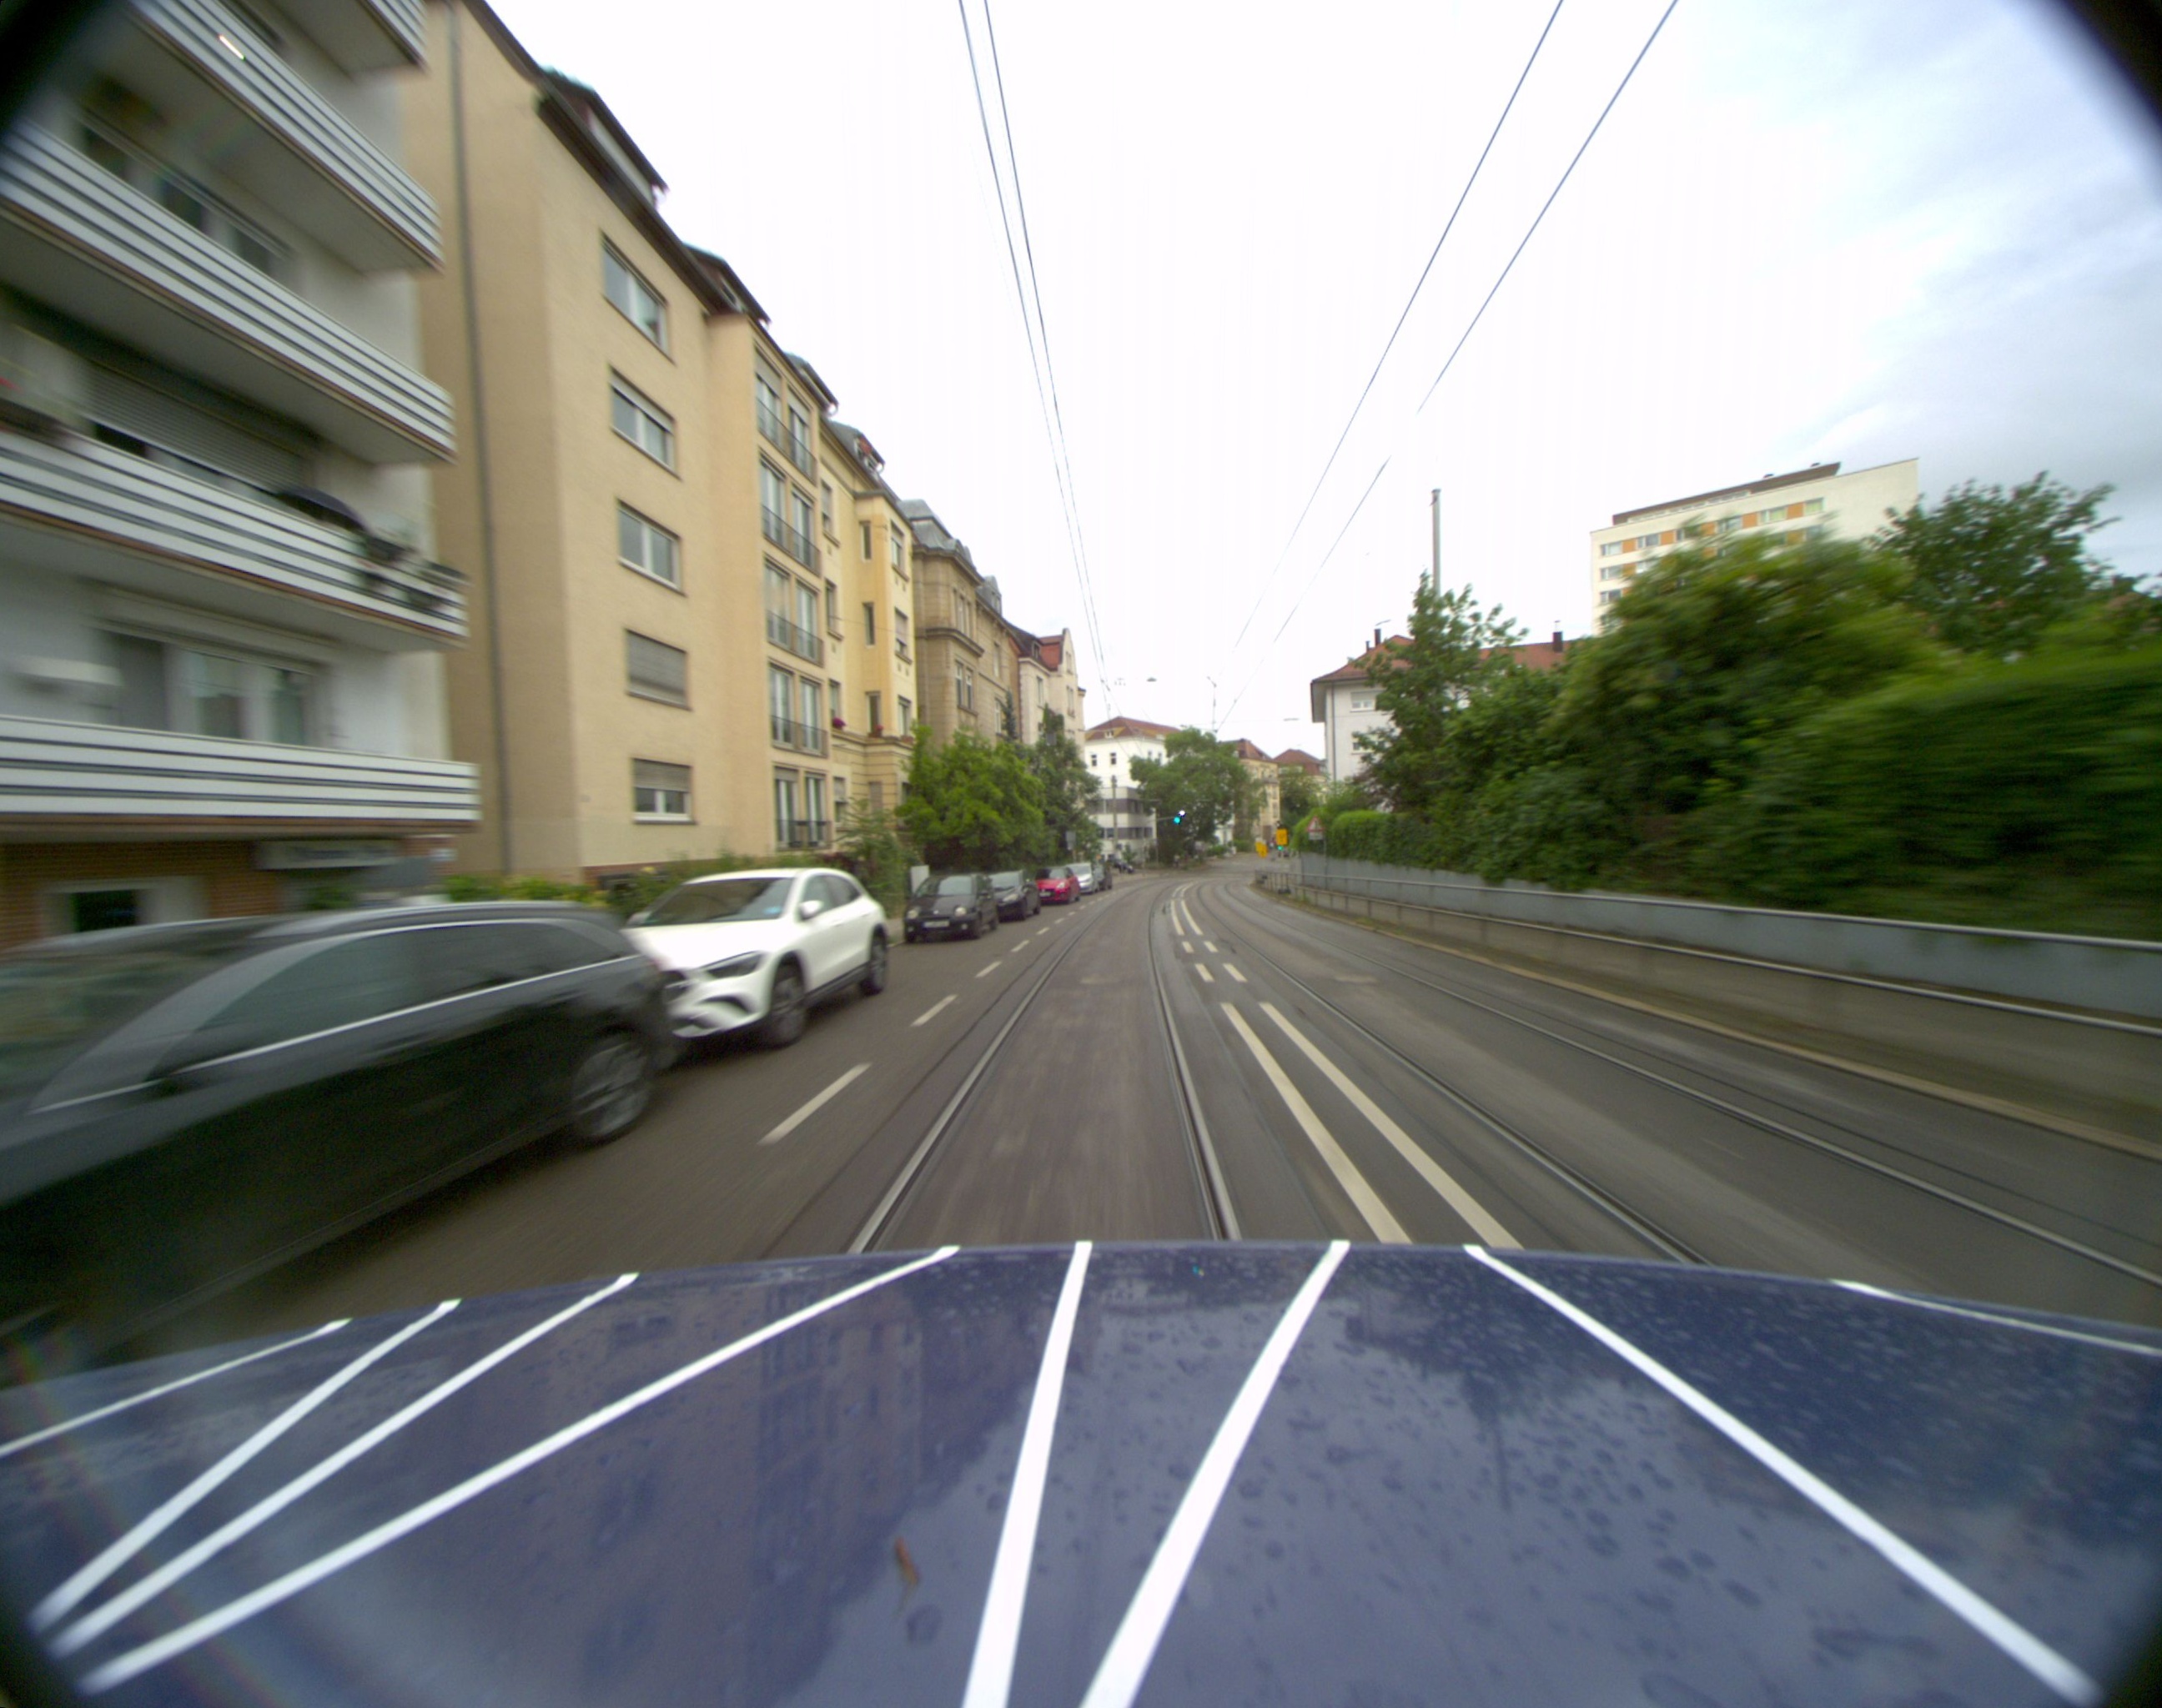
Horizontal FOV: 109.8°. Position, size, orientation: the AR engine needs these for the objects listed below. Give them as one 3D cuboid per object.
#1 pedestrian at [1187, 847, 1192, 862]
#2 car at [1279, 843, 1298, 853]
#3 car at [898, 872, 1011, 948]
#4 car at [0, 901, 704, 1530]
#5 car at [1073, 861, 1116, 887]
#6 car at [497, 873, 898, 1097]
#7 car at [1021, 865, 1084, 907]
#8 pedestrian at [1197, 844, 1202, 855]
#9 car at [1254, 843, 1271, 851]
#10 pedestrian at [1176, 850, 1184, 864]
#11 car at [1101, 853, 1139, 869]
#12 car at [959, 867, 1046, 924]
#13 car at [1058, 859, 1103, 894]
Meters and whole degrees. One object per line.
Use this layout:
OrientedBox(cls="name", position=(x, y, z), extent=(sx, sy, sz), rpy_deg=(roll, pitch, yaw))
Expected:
OrientedBox(cls="pedestrian", position=(14.262, 0.072, 99.994), extent=(0.542, 1.913, 0.918), rpy_deg=(0, 3, 16))
OrientedBox(cls="car", position=(33.081, -0.934, 121.163), extent=(1.689, 1.434, 3.811), rpy_deg=(1, 2, 34))
OrientedBox(cls="car", position=(-2.783, 1.195, 17.588), extent=(1.560, 1.428, 4.305), rpy_deg=(-3, -1, 4))
OrientedBox(cls="car", position=(-3.725, 1.134, 3.149), extent=(1.705, 1.503, 4.572), rpy_deg=(-5, -1, 4))
OrientedBox(cls="car", position=(0.821, 1.161, 43.830), extent=(1.769, 1.382, 4.004), rpy_deg=(-3, -2, 10))
OrientedBox(cls="car", position=(-3.439, 1.055, 7.907), extent=(1.841, 1.563, 4.249), rpy_deg=(-3, -1, 2))
OrientedBox(cls="car", position=(-1.068, 1.212, 29.988), extent=(1.725, 1.428, 3.844), rpy_deg=(-3, -1, 9))
OrientedBox(cls="pedestrian", position=(16.525, -0.689, 106.056), extent=(0.386, 1.498, 0.537), rpy_deg=(-1, 3, -35))
OrientedBox(cls="car", position=(33.284, -1.345, 139.205), extent=(1.595, 1.333, 3.643), rpy_deg=(0, -2, 37))
OrientedBox(cls="pedestrian", position=(12.034, 0.401, 92.230), extent=(0.743, 1.690, 0.674), rpy_deg=(4, 0, 24))
OrientedBox(cls="car", position=(4.148, 0.742, 80.747), extent=(3.661, 1.500, 1.740), rpy_deg=(2, 2, 20))
OrientedBox(cls="car", position=(-2.199, 1.153, 22.321), extent=(1.687, 1.428, 4.066), rpy_deg=(-3, -1, 6))
OrientedBox(cls="car", position=(0.021, 1.063, 37.992), extent=(1.769, 1.594, 4.290), rpy_deg=(-1, 0, 6))
